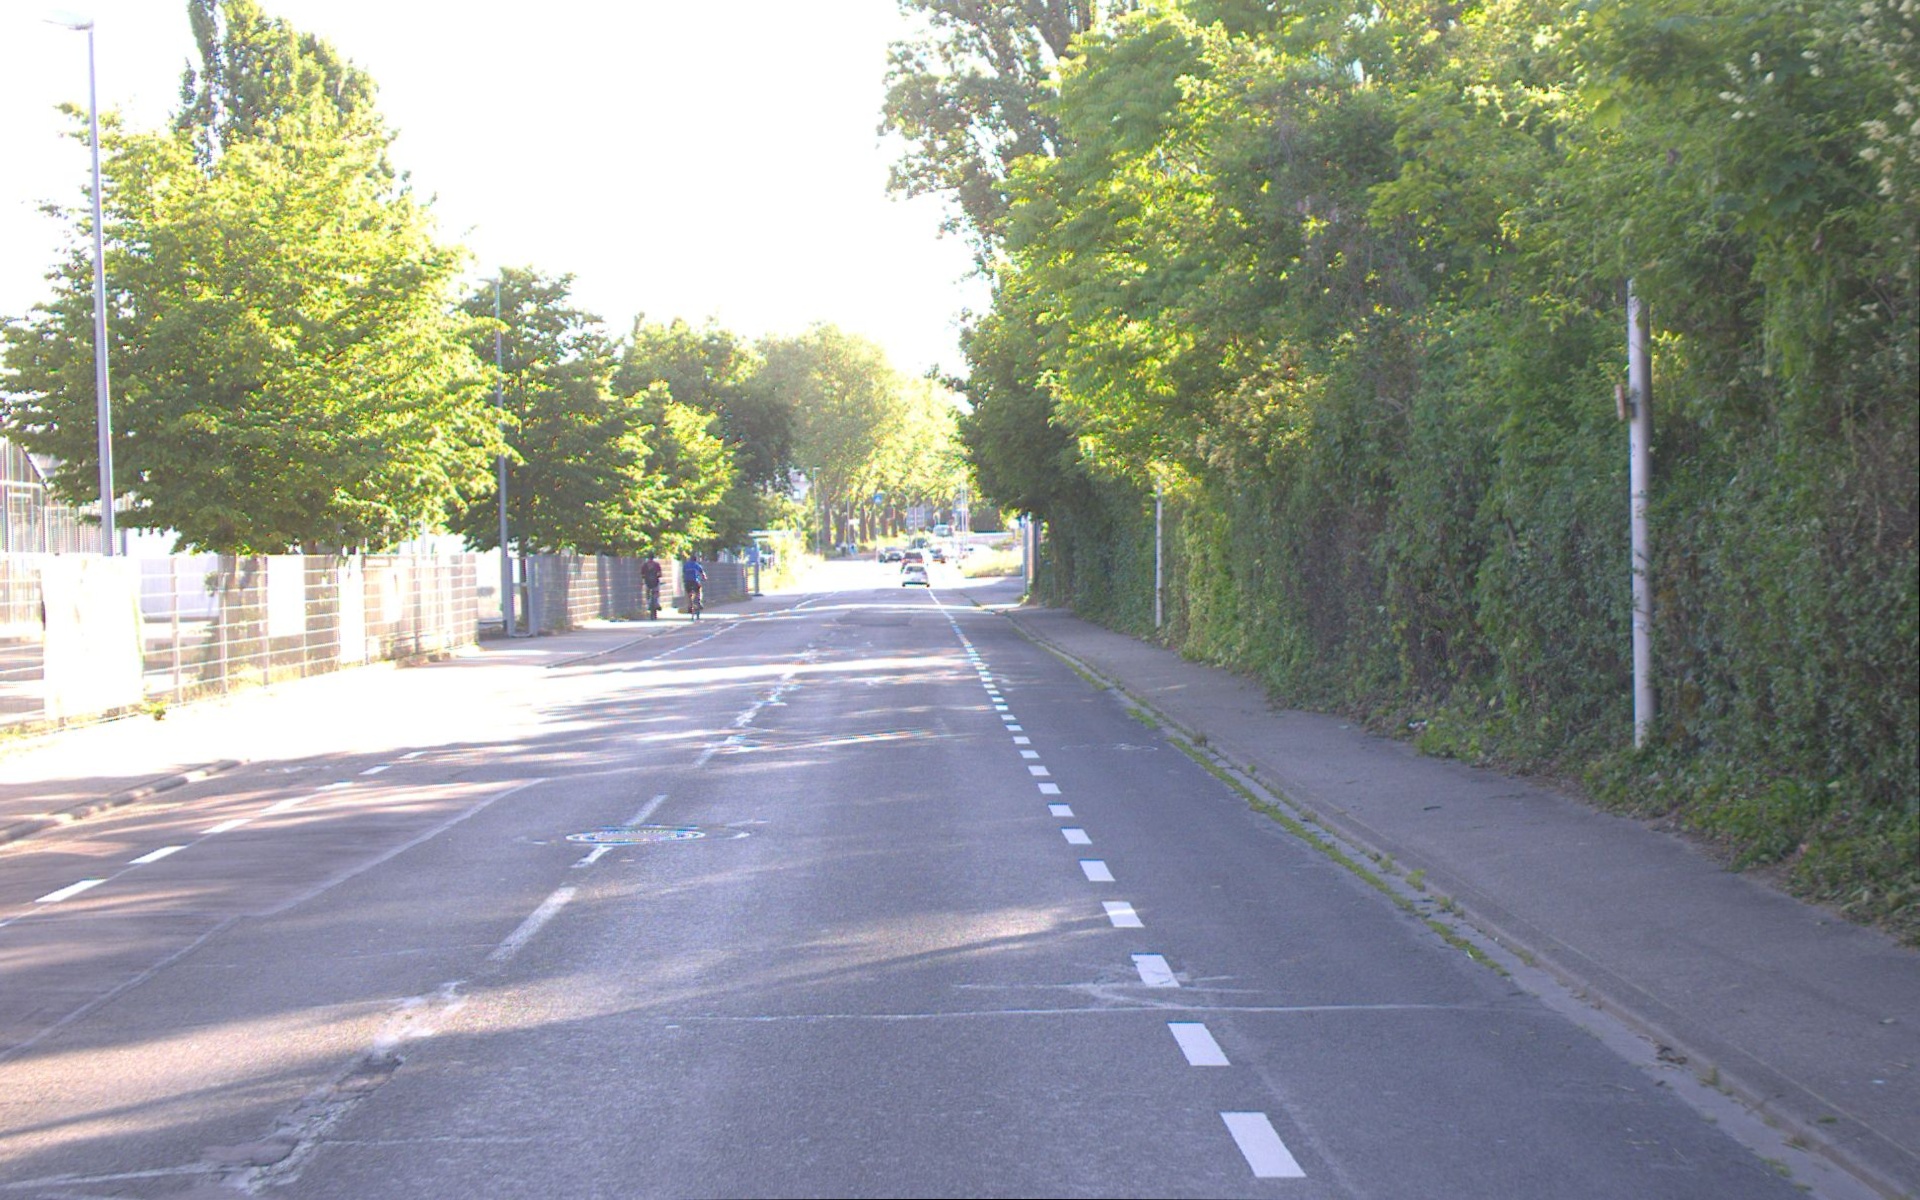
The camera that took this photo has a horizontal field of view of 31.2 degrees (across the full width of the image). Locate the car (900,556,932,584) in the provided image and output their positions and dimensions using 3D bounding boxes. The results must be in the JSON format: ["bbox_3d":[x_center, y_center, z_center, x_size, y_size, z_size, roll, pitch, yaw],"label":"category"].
[{"bbox_3d":[-2.739,-1.856,213.580,1.942,1.645,4.310,-1,1,-1],"label":"car"}]

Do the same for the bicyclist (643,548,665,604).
[{"bbox_3d":[-8.499,-0.670,95.516,0.560,1.528,0.689,-1,1,-1],"label":"bicyclist"}]

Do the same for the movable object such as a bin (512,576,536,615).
[{"bbox_3d":[-12.397,-0.139,97.865,0.463,1.072,1.570,-2,1,-1],"label":"movable object such as a bin"}]

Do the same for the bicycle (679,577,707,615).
[{"bbox_3d":[-7.360,-0.116,94.763,0.689,1.030,1.351,-1,1,-1],"label":"bicycle"}]

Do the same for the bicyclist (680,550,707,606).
[{"bbox_3d":[-7.342,-0.618,94.715,0.689,1.526,0.722,-1,1,-1],"label":"bicyclist"}]

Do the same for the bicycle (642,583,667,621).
[{"bbox_3d":[-8.489,0.056,95.607,0.563,1.030,1.351,-1,1,-1],"label":"bicycle"}]

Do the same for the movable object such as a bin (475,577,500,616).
[{"bbox_3d":[-13.456,-0.091,97.974,0.463,1.072,1.570,-2,1,-1],"label":"movable object such as a bin"}]

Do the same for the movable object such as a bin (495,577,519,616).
[{"bbox_3d":[-12.913,-0.116,98.042,0.463,1.072,1.570,-2,1,-1],"label":"movable object such as a bin"}]
